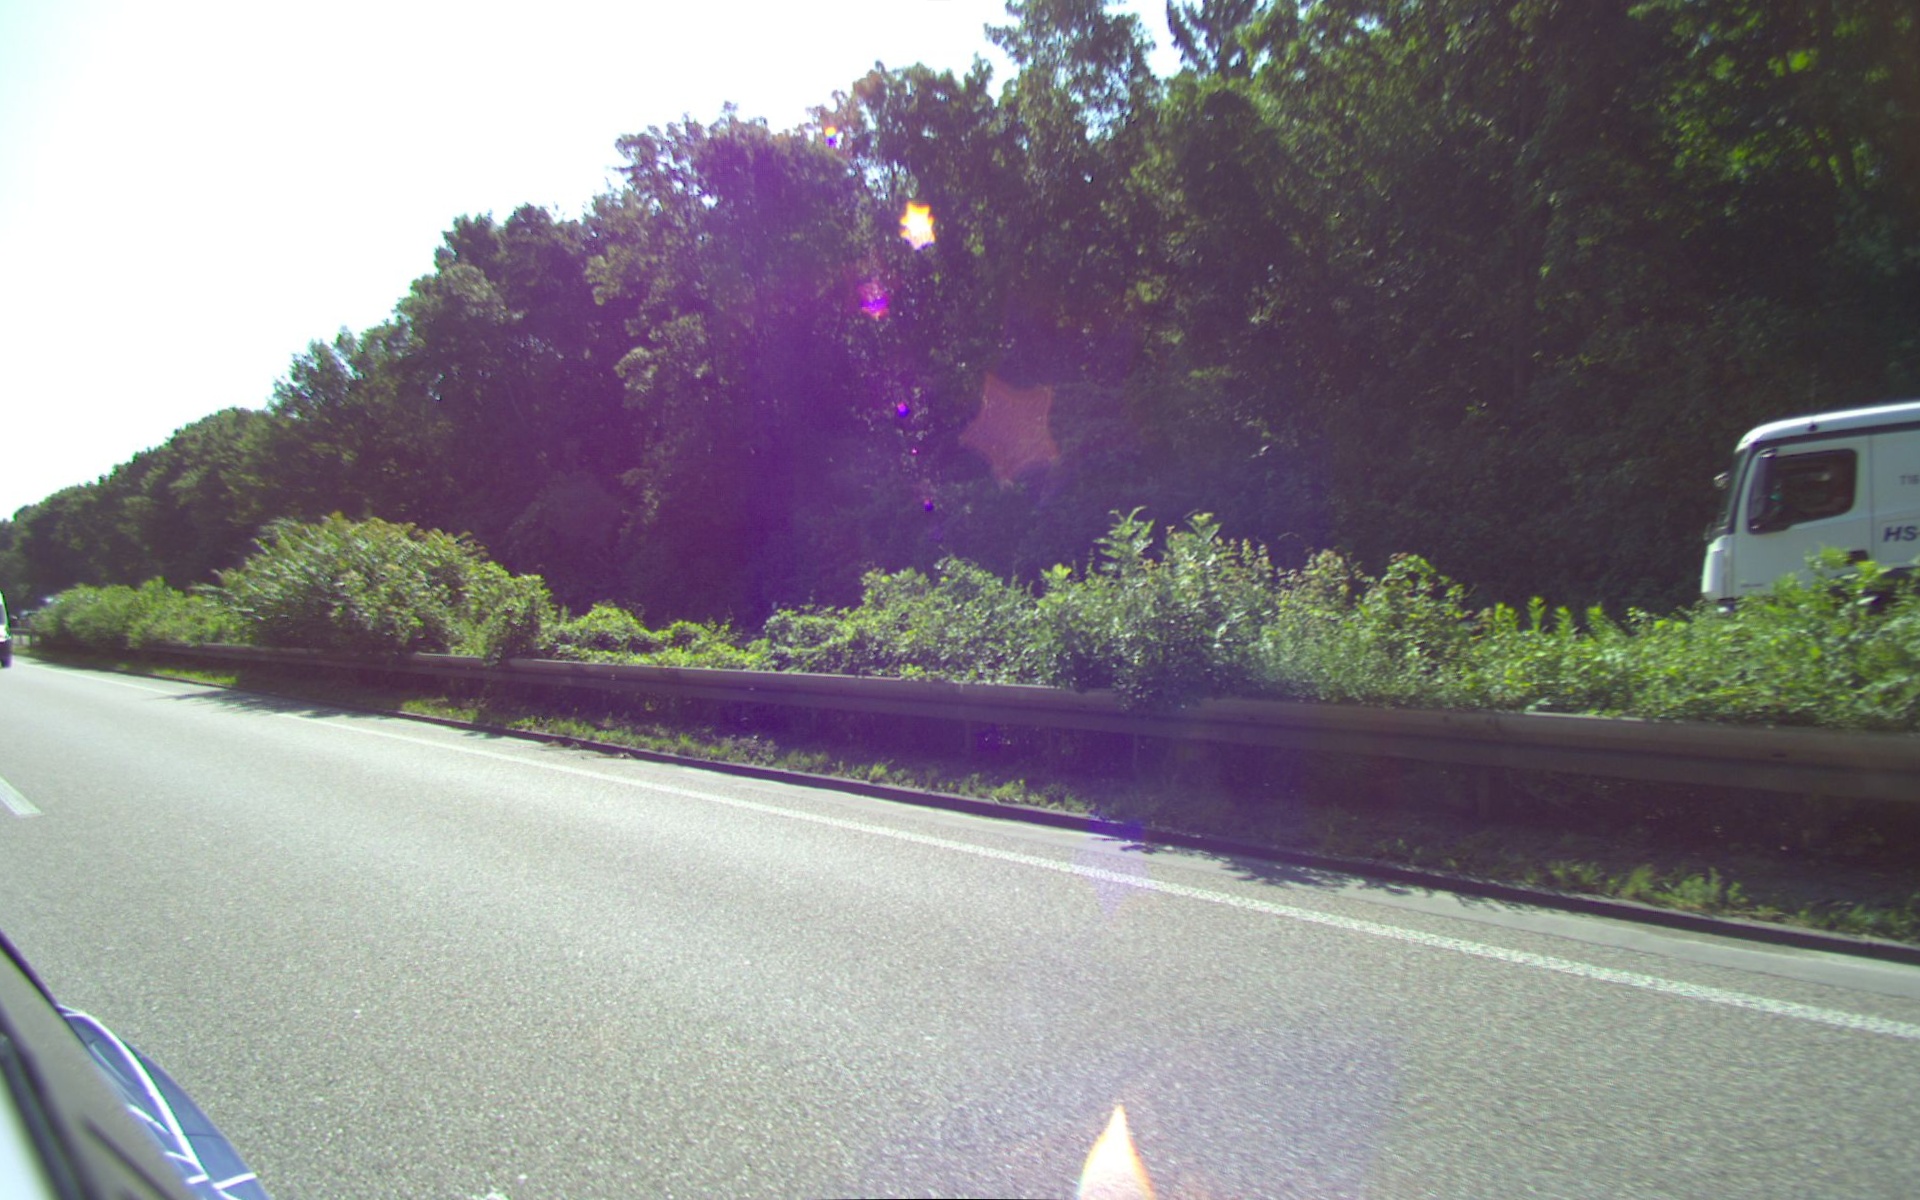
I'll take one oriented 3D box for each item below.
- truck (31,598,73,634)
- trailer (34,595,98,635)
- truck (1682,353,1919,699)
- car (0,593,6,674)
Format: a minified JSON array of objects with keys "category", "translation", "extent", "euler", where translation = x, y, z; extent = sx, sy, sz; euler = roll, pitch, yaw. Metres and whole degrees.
[{"category":"truck","translation":[-83.616,1.460,93.209],"extent":[3.998,3.283,2.400],"euler":[-1,0,41]},{"category":"trailer","translation":[-78.024,1.362,88.216],"extent":[14.425,3.260,2.466],"euler":[-1,0,42]},{"category":"truck","translation":[10.412,-0.739,10.468],"extent":[4.540,3.367,2.314],"euler":[-1,0,41]},{"category":"car","translation":[-31.462,1.067,31.586],"extent":[4.635,2.462,2.020],"euler":[-1,0,41]}]
